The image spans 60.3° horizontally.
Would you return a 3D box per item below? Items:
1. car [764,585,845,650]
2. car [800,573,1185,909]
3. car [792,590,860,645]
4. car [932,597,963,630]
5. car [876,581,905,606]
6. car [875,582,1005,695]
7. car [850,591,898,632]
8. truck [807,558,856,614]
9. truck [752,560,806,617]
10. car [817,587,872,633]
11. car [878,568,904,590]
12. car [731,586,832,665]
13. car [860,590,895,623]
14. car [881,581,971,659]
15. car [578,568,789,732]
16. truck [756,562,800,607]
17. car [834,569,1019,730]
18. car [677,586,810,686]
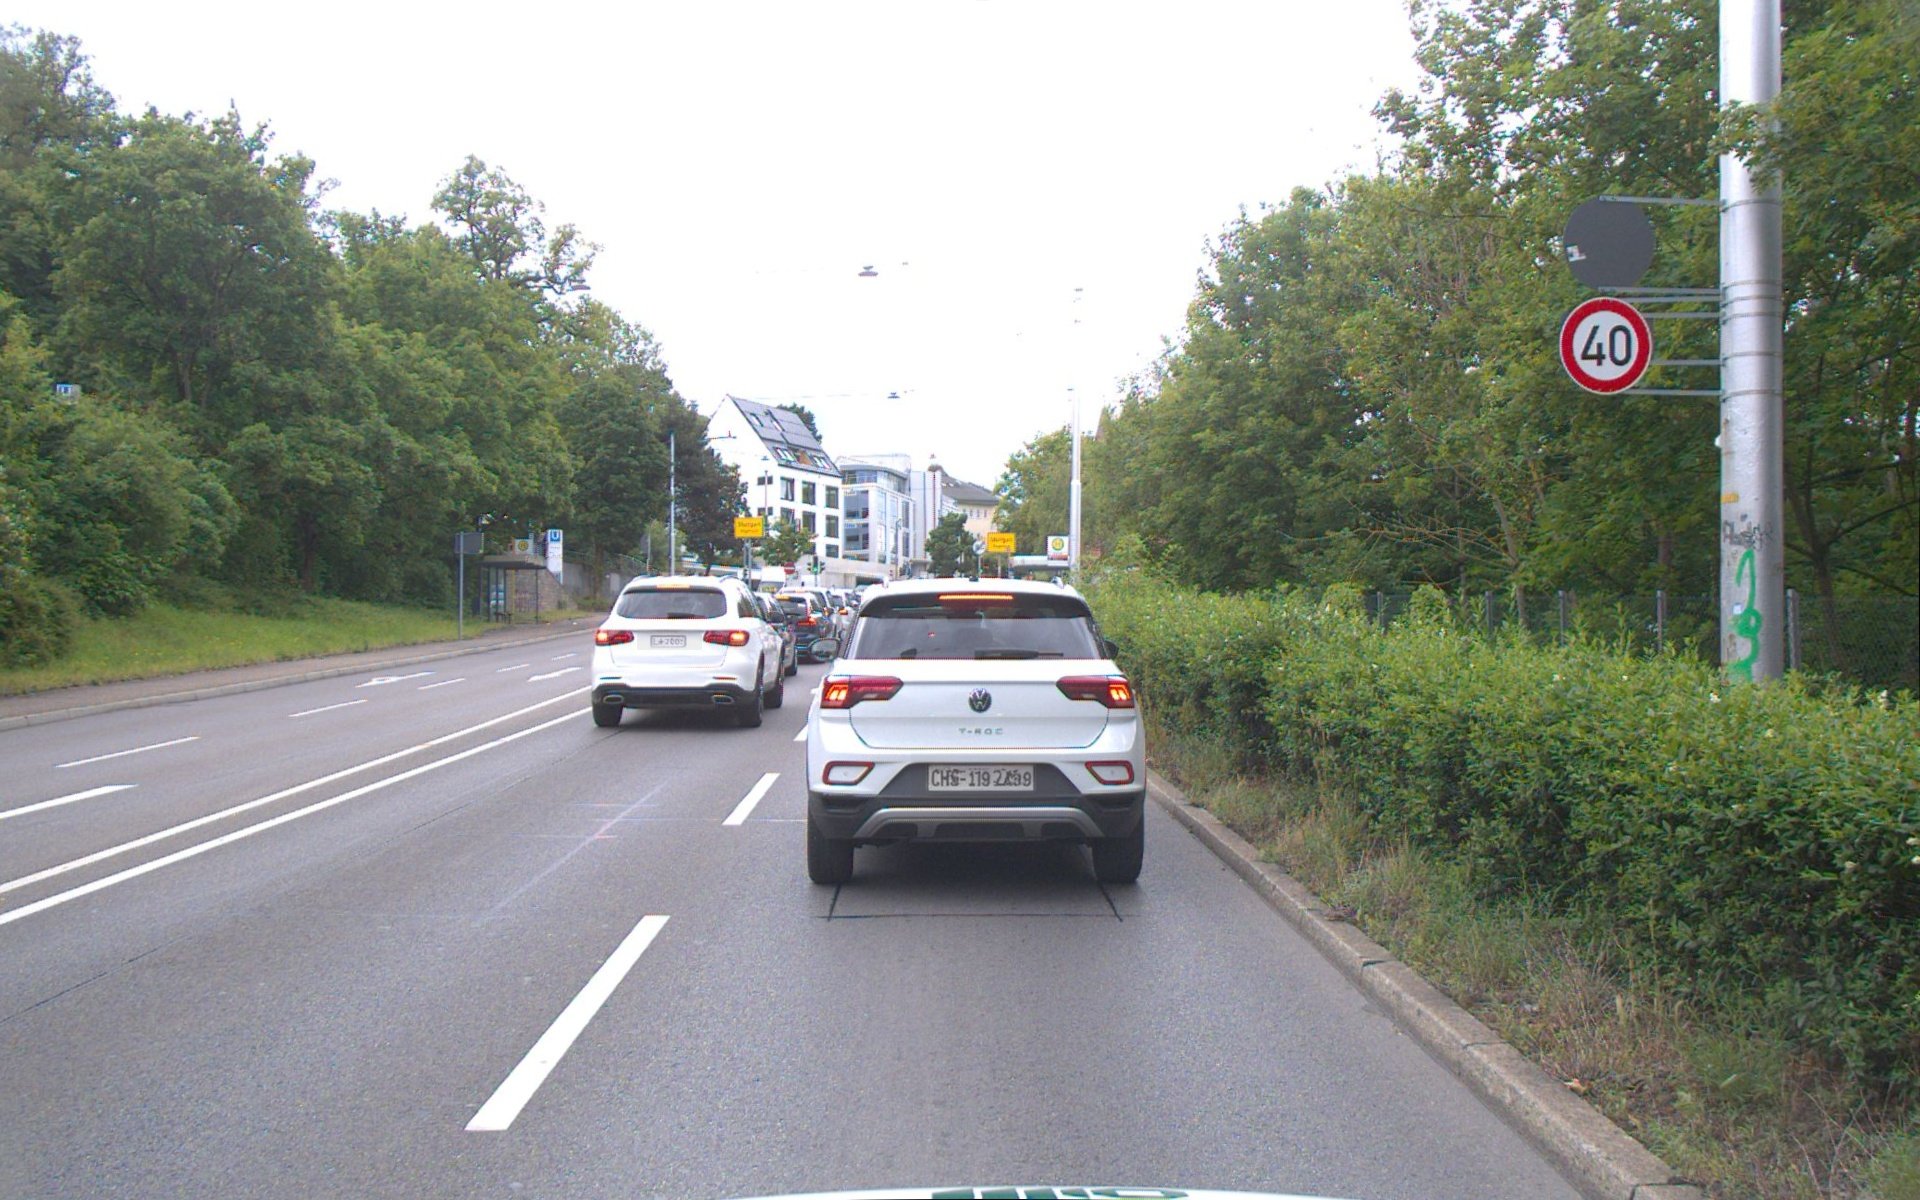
[{"bbox_3d":[-3.942,0.408,42.511,1.792,1.552,3.999,-1,0,-2],"label":"car"},{"bbox_3d":[0.103,0.644,9.727,1.792,1.552,3.999,0,0,-2],"label":"car"},{"bbox_3d":[-4.005,0.505,49.900,1.792,1.552,3.999,-1,0,-2],"label":"car"},{"bbox_3d":[-0.858,0.875,108.311,1.953,2.049,3.999,-1,0,-1],"label":"car"},{"bbox_3d":[-4.494,-0.402,106.828,1.792,1.552,3.999,-1,0,-2],"label":"car"},{"bbox_3d":[-0.335,0.525,25.225,1.792,1.552,3.999,-1,0,-2],"label":"car"},{"bbox_3d":[-3.465,0.447,67.165,1.792,1.552,3.999,-1,0,-2],"label":"car"},{"bbox_3d":[-6.876,-0.750,88.878,2.315,2.830,4.476,-2,0,-2],"label":"truck"},{"bbox_3d":[-9.175,-0.593,84.220,2.315,2.753,4.476,-2,0,-2],"label":"truck"},{"bbox_3d":[-4.118,0.329,59.438,1.792,1.552,3.999,-1,0,-2],"label":"car"},{"bbox_3d":[-5.027,-1.538,120.403,1.792,1.552,3.999,-1,0,-2],"label":"car"},{"bbox_3d":[-3.746,0.498,35.218,1.792,1.552,3.999,-1,0,-2],"label":"car"},{"bbox_3d":[-4.480,0.342,90.454,1.778,1.685,3.927,-2,0,-2],"label":"car"},{"bbox_3d":[-0.748,0.393,35.732,1.792,1.552,3.999,-1,0,-2],"label":"car"},{"bbox_3d":[-3.093,0.510,19.272,1.879,1.698,3.999,0,0,-2],"label":"car"},{"bbox_3d":[-13.115,-1.074,119.791,2.246,3.104,6.979,-1,0,1],"label":"truck"},{"bbox_3d":[-0.384,0.478,18.293,1.792,1.552,3.999,-1,0,-2],"label":"car"},{"bbox_3d":[-3.585,0.555,27.992,1.792,1.523,3.999,-1,0,-2],"label":"car"}]
